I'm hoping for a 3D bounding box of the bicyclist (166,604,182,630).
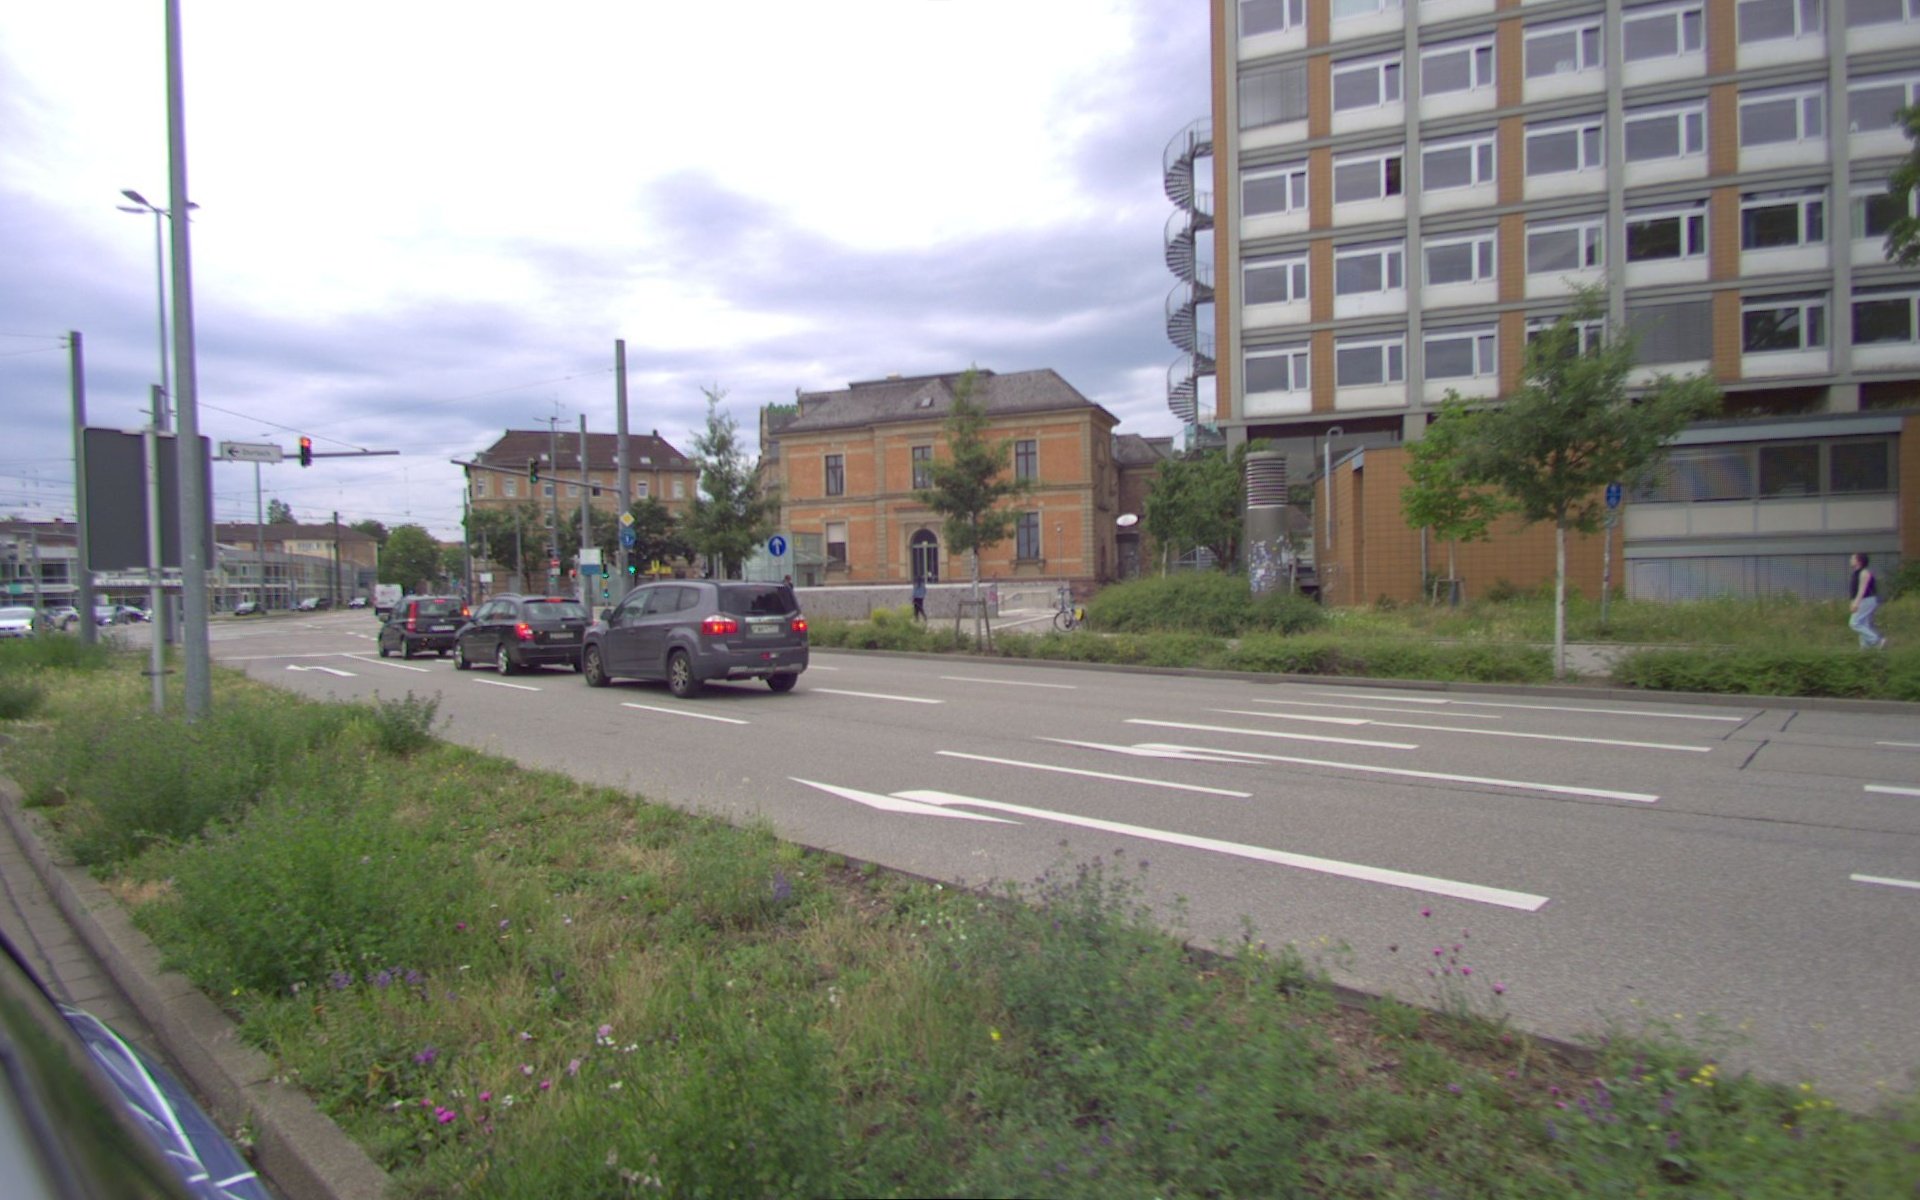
[{"bbox_3d":[-51.260,1.124,66.011,0.515,1.651,0.649,-1,0,26],"label":"bicyclist"}]

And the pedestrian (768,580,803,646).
[{"bbox_3d":[-5.436,0.398,31.559,0.808,1.995,0.660,-1,0,-39],"label":"pedestrian"}]

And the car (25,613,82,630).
[{"bbox_3d":[-87.156,2.063,97.348,3.842,1.452,1.737,-2,1,-35],"label":"car"}]

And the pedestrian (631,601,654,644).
[{"bbox_3d":[-11.652,0.828,37.129,0.571,1.563,0.750,-1,0,-39],"label":"pedestrian"}]

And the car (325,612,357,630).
[{"bbox_3d":[-82.023,2.763,134.171,2.334,2.150,5.144,-1,0,-16],"label":"car"}]

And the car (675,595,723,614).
[{"bbox_3d":[-25.012,0.425,97.272,2.146,1.727,4.894,-1,1,19],"label":"car"}]

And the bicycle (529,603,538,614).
[{"bbox_3d":[-43.774,0.885,103.871,0.742,1.038,2.405,-2,1,-25],"label":"bicycle"}]

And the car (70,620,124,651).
[{"bbox_3d":[-60.365,2.451,70.830,1.965,2.029,4.013,-1,0,-27],"label":"car"}]

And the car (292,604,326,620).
[{"bbox_3d":[-75.599,1.398,117.602,2.333,1.768,5.146,-2,0,-22],"label":"car"}]

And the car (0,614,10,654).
[{"bbox_3d":[-50.389,1.784,51.454,1.965,2.029,4.013,-1,0,-27],"label":"car"}]

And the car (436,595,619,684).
[{"bbox_3d":[-8.477,0.725,19.617,1.848,1.519,4.483,1,-2,-43],"label":"car"}]

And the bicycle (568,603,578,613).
[{"bbox_3d":[-40.245,0.850,105.215,0.742,1.038,2.405,-2,1,-25],"label":"bicycle"}]

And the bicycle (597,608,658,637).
[{"bbox_3d":[-12.760,0.860,38.861,2.085,1.036,0.797,-2,-1,-35],"label":"bicycle"}]

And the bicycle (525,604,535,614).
[{"bbox_3d":[-44.106,0.912,103.729,0.823,1.038,2.405,-2,1,-25],"label":"bicycle"}]

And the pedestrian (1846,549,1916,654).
[{"bbox_3d":[13.905,0.019,15.295,0.755,1.553,0.555,-1,1,42],"label":"pedestrian"}]

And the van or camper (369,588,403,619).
[{"bbox_3d":[-47.667,0.301,83.982,2.247,2.546,5.590,-1,0,-31],"label":"van or camper"}]

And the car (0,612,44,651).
[{"bbox_3d":[-39.034,1.281,41.506,1.943,1.466,4.200,-2,0,-39],"label":"car"}]

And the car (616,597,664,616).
[{"bbox_3d":[-28.882,0.569,91.379,1.984,1.623,4.219,-1,1,19],"label":"car"}]

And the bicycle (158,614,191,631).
[{"bbox_3d":[-51.256,1.450,66.050,0.525,1.078,1.600,-1,0,26],"label":"bicycle"}]

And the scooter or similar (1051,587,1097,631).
[{"bbox_3d":[3.483,0.264,30.854,0.628,1.312,1.755,-1,0,34],"label":"scooter or similar"}]

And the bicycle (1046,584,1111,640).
[{"bbox_3d":[3.223,0.310,27.722,0.835,1.460,2.261,-2,0,-19],"label":"bicycle"}]

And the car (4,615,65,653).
[{"bbox_3d":[-54.037,1.940,59.161,1.966,2.029,4.011,-1,0,-33],"label":"car"}]

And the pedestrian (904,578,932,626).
[{"bbox_3d":[-1.529,0.075,36.770,0.737,1.747,0.687,-1,0,-39],"label":"pedestrian"}]

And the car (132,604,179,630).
[{"bbox_3d":[-65.560,1.382,82.534,1.965,2.029,4.013,-2,1,-24],"label":"car"}]

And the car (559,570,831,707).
[{"bbox_3d":[-4.118,0.512,15.216,1.849,1.738,4.715,0,-1,-45],"label":"car"}]

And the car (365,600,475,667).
[{"bbox_3d":[-13.535,0.792,25.282,1.599,1.527,3.669,0,0,-42],"label":"car"}]

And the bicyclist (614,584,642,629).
[{"bbox_3d":[-12.767,0.247,38.887,0.802,1.669,0.796,-1,-2,-34],"label":"bicyclist"}]
